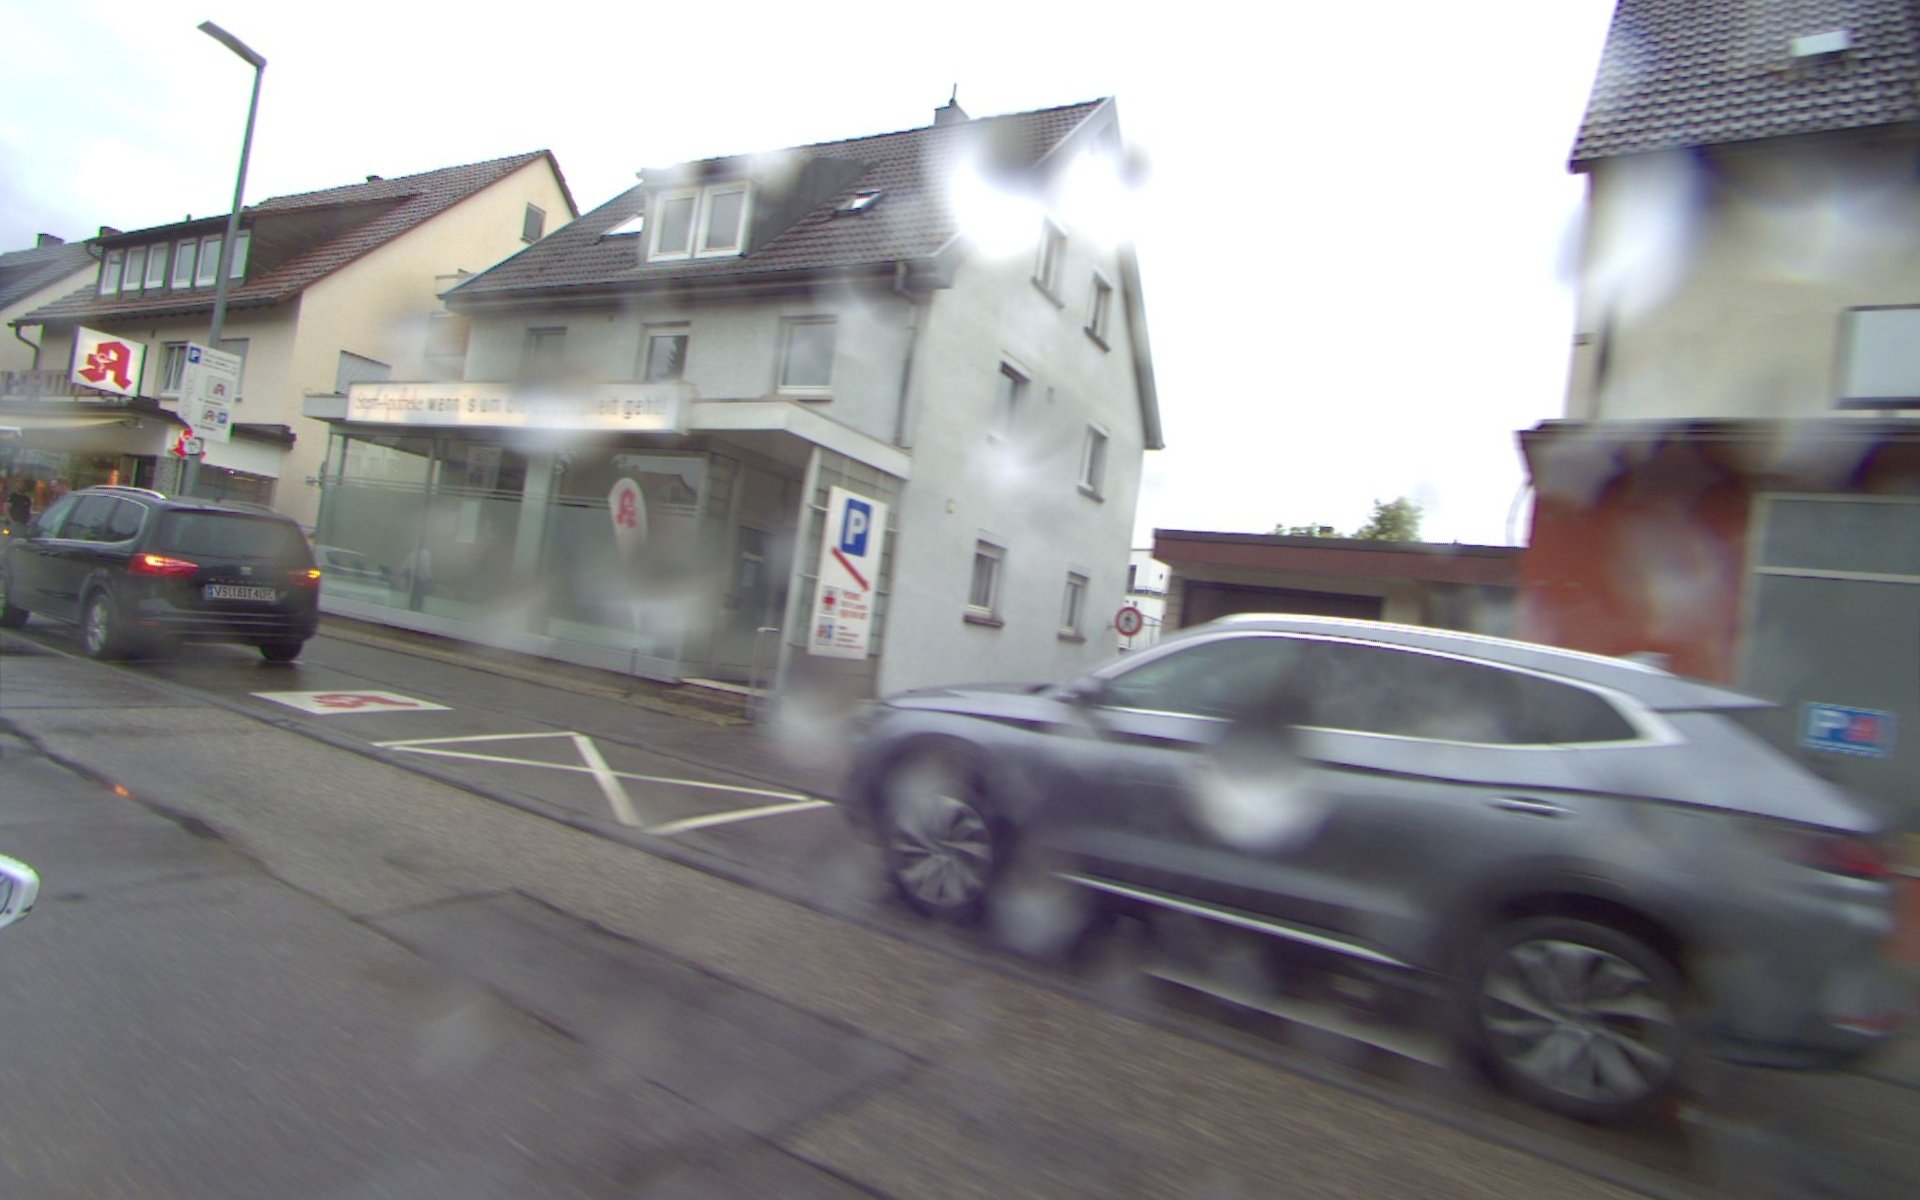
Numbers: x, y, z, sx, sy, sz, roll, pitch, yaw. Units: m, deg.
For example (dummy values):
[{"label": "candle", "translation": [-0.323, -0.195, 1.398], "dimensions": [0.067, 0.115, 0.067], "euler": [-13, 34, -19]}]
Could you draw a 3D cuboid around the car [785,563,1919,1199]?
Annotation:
[{"label": "car", "translation": [1.632, 0.900, 4.928], "dimensions": [4.712, 1.663, 1.877], "euler": [6, 0, 31]}]

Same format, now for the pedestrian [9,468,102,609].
[{"label": "pedestrian", "translation": [-13.068, -0.866, 14.562], "dimensions": [0.616, 1.913, 0.644], "euler": [8, -1, -24]}]

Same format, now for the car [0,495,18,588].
[{"label": "car", "translation": [-17.413, -1.199, 16.427], "dimensions": [4.133, 1.466, 1.818], "euler": [7, 0, 31]}]

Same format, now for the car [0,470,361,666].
[{"label": "car", "translation": [-9.173, -0.410, 11.403], "dimensions": [4.882, 1.716, 2.037], "euler": [6, -1, 33]}]

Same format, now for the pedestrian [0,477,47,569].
[{"label": "pedestrian", "translation": [-18.557, -1.508, 19.755], "dimensions": [0.508, 1.698, 0.551], "euler": [8, -1, -6]}]
